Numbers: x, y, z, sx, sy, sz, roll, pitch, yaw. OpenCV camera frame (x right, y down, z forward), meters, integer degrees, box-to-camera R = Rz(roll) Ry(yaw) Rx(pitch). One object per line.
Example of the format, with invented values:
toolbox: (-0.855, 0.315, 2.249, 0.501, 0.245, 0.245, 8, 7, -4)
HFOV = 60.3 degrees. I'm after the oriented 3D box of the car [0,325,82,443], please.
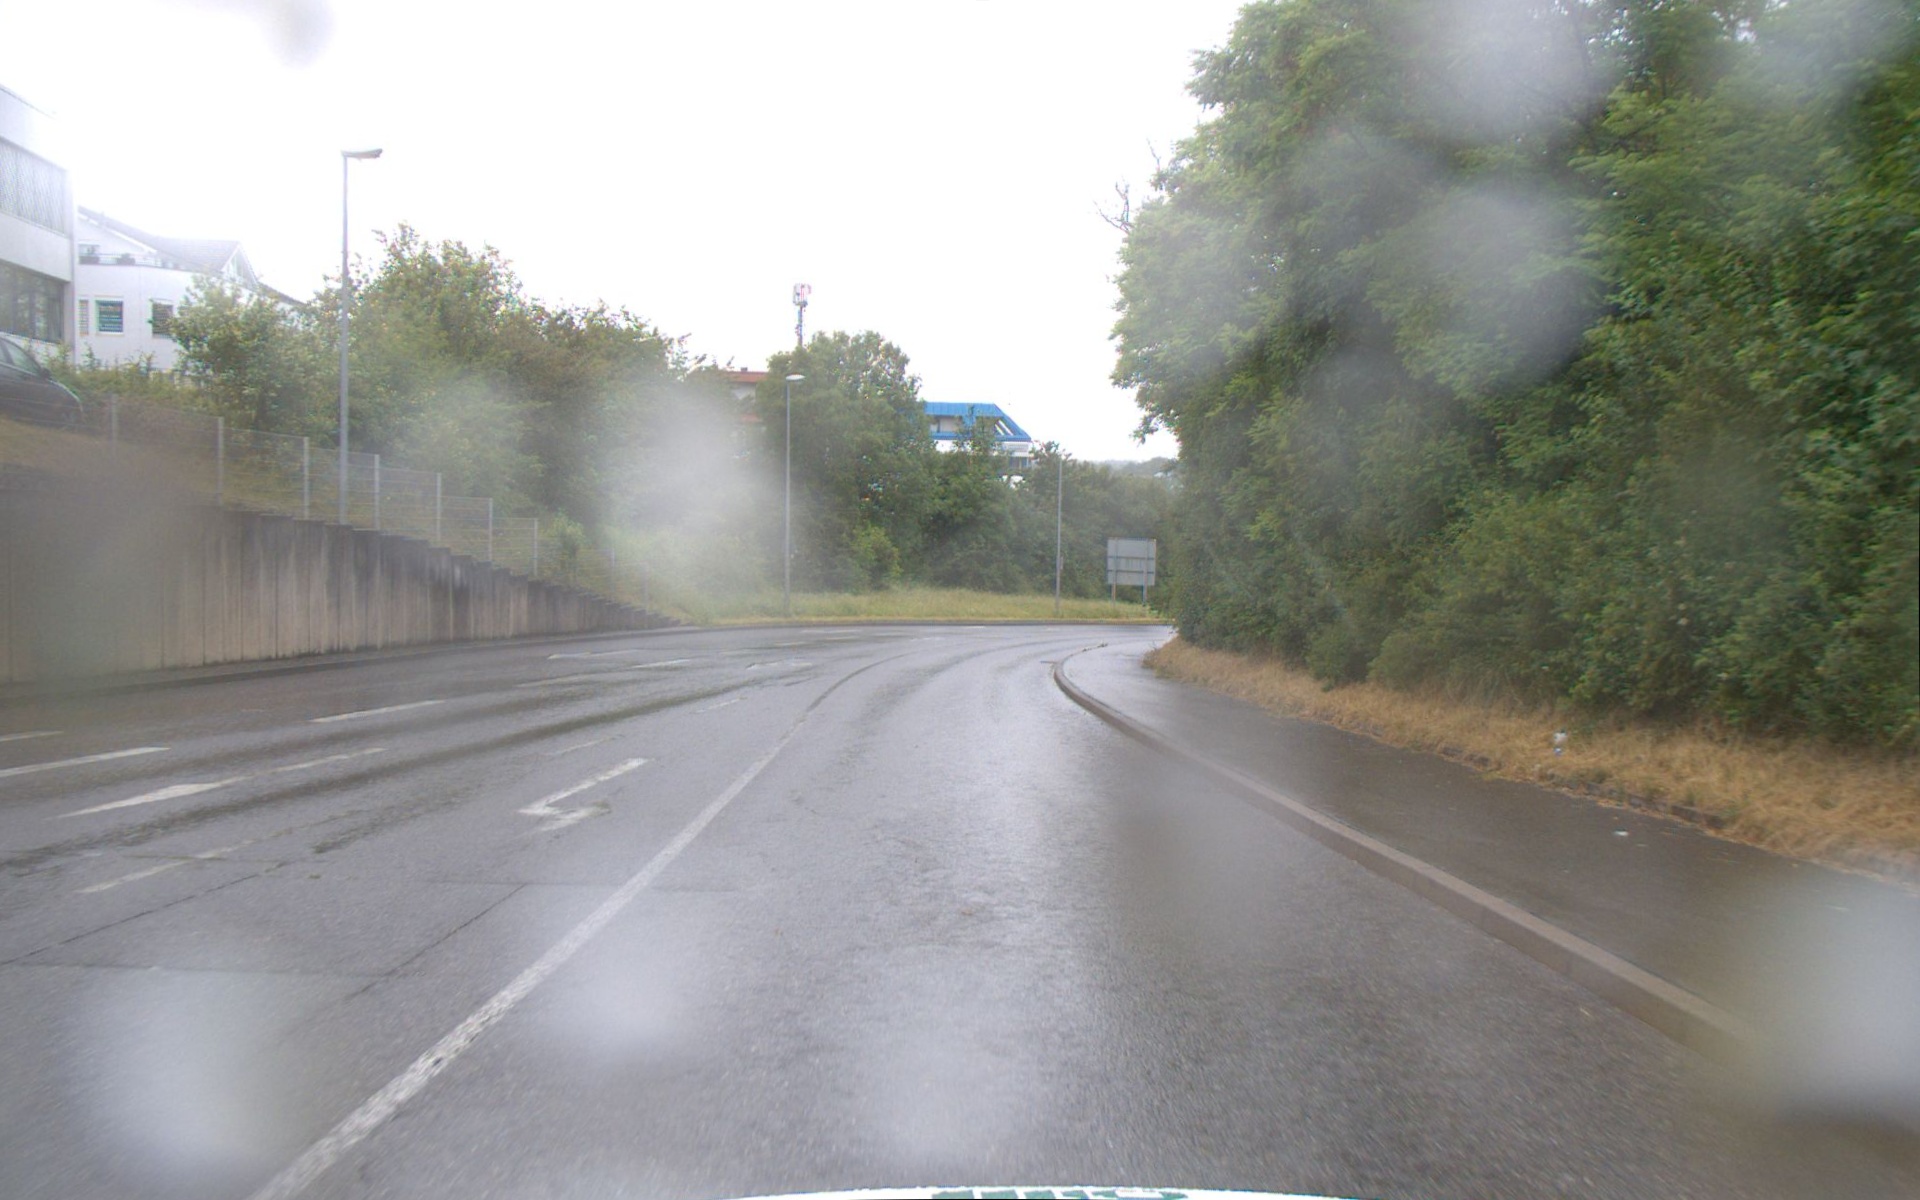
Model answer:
car: (-14.549, -3.204, 23.746, 1.790, 1.467, 3.999, 2, 0, -2)
